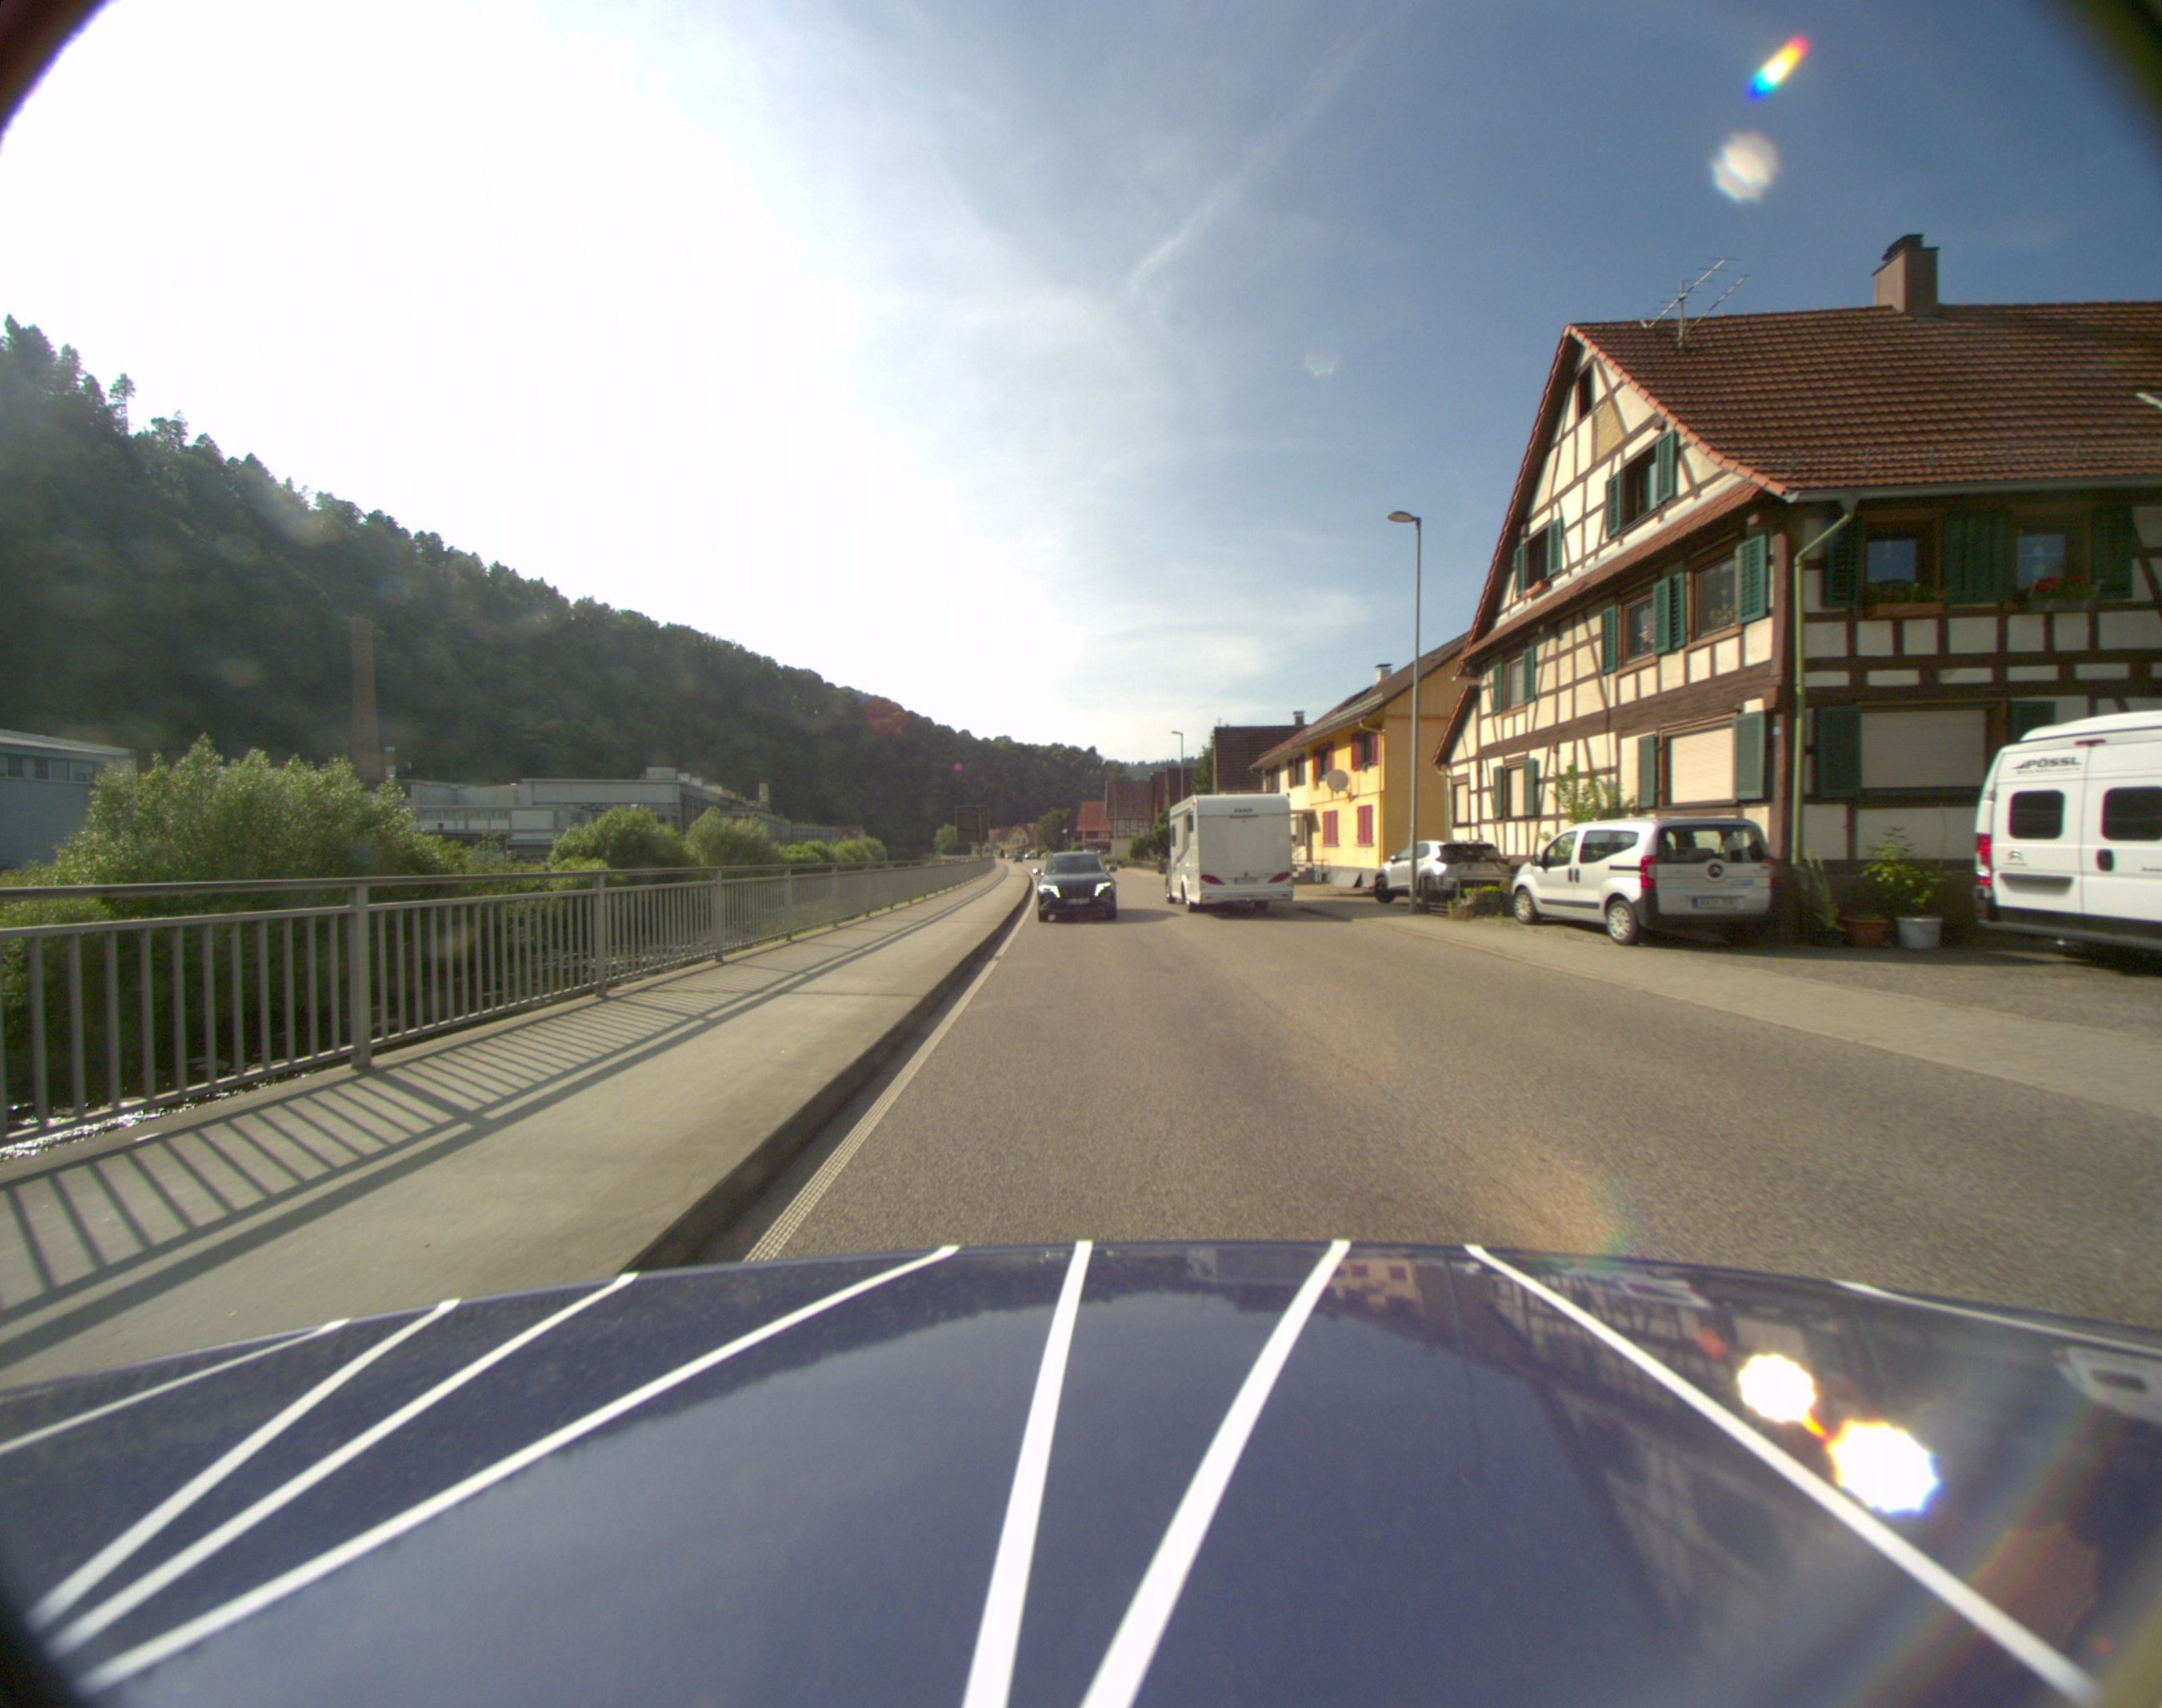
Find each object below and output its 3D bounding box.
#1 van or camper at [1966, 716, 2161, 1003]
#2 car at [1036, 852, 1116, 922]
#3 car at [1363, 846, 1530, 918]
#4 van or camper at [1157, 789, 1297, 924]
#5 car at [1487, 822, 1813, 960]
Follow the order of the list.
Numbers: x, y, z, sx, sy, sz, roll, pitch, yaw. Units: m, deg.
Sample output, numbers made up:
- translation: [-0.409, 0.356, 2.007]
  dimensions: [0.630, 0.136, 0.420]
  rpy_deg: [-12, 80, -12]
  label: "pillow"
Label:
- translation: [12.611, -0.060, 7.308]
  dimensions: [5.186, 2.648, 2.193]
  rpy_deg: [-2, 1, 7]
  label: "van or camper"
- translation: [-0.228, 0.788, 20.555]
  dimensions: [1.650, 1.639, 3.997]
  rpy_deg: [-2, 1, -7]
  label: "car"
- translation: [8.363, 0.577, 17.859]
  dimensions: [1.889, 1.510, 4.093]
  rpy_deg: [0, 0, -1]
  label: "car"
- translation: [3.602, 0.051, 20.465]
  dimensions: [2.201, 2.921, 7.125]
  rpy_deg: [-2, 0, -1]
  label: "van or camper"
- translation: [8.140, 0.438, 11.489]
  dimensions: [1.905, 1.655, 4.268]
  rpy_deg: [-2, 1, 4]
  label: "car"
